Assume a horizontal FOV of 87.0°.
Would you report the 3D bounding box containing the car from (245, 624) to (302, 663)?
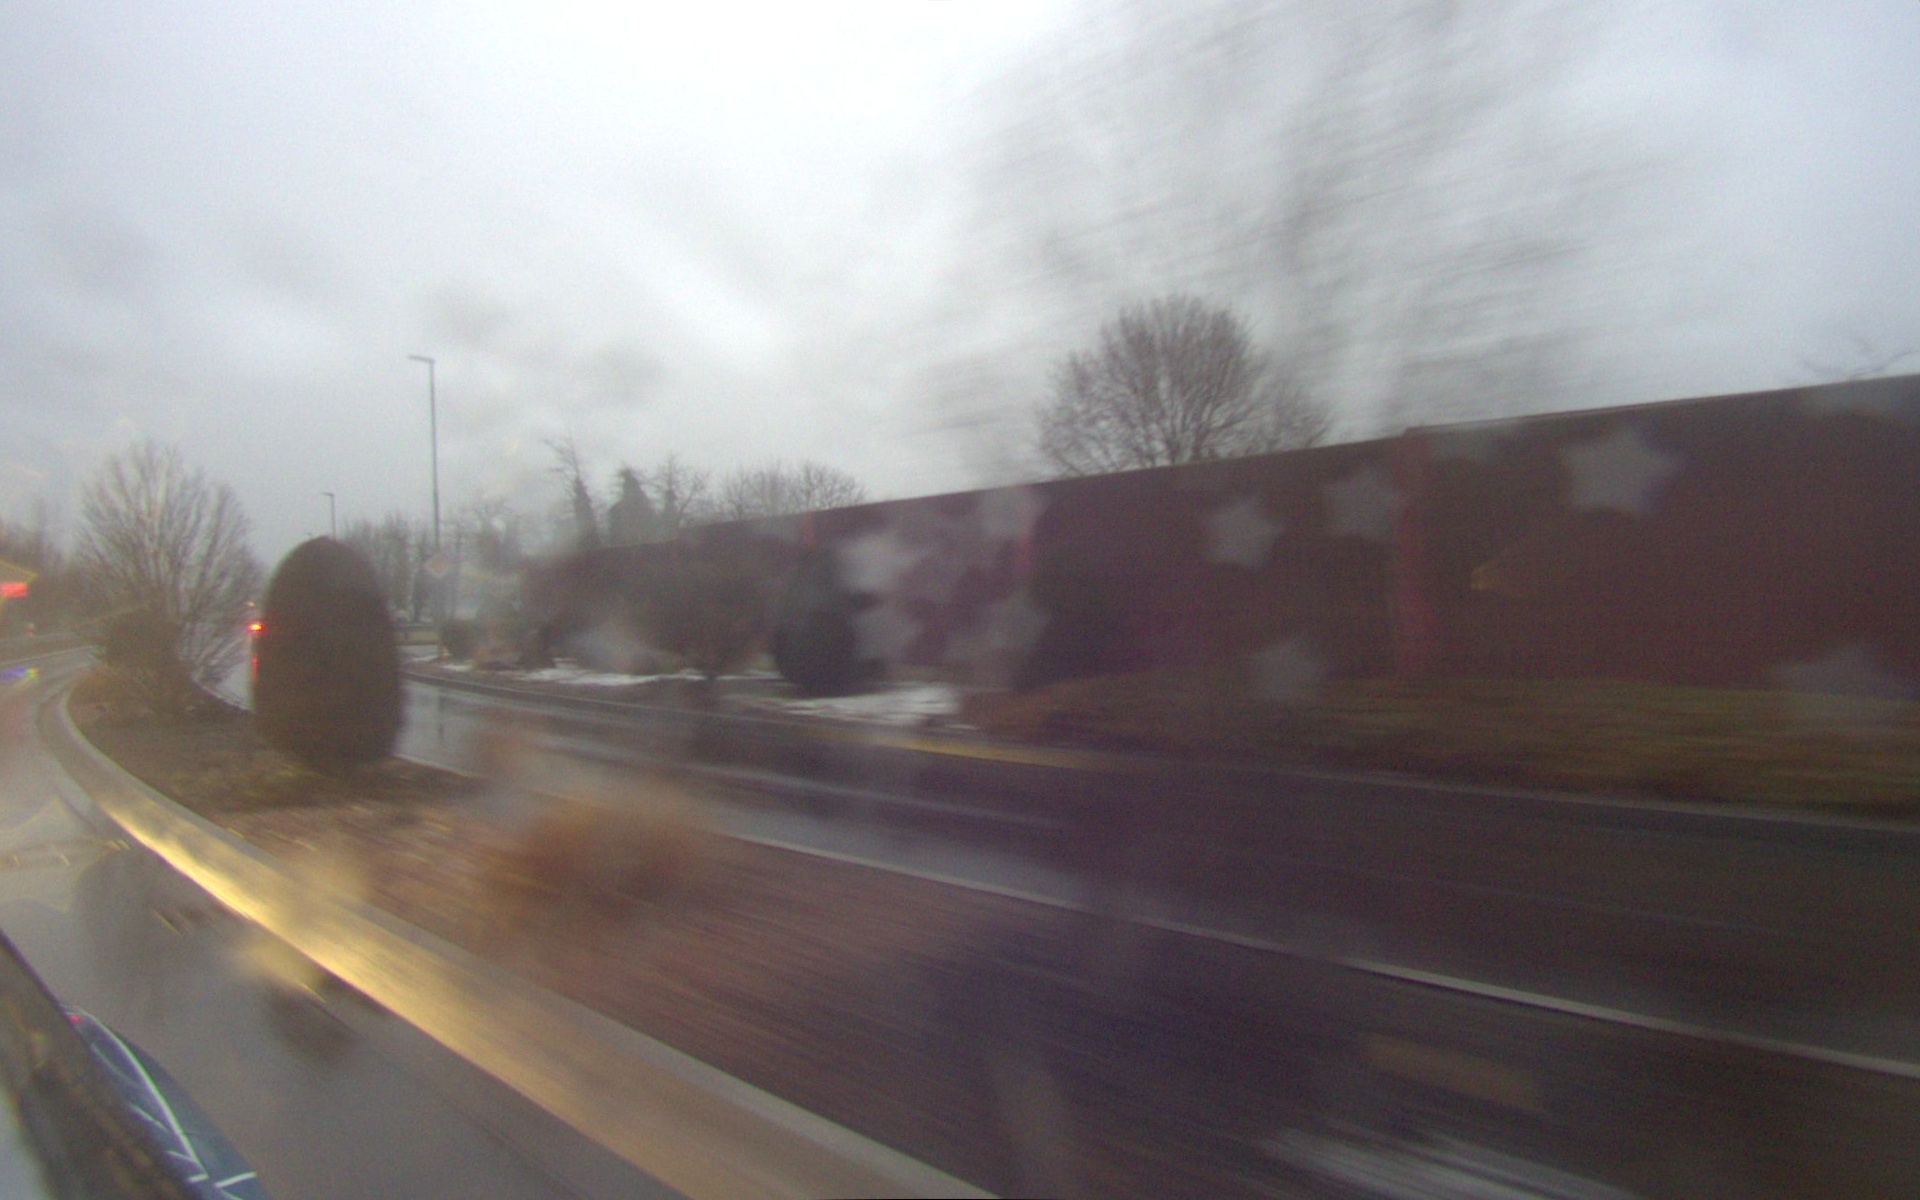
[{"bbox_3d":[-32.001,1.982,47.106,1.673,1.590,3.890,-1,1,-42],"label":"car"}]
